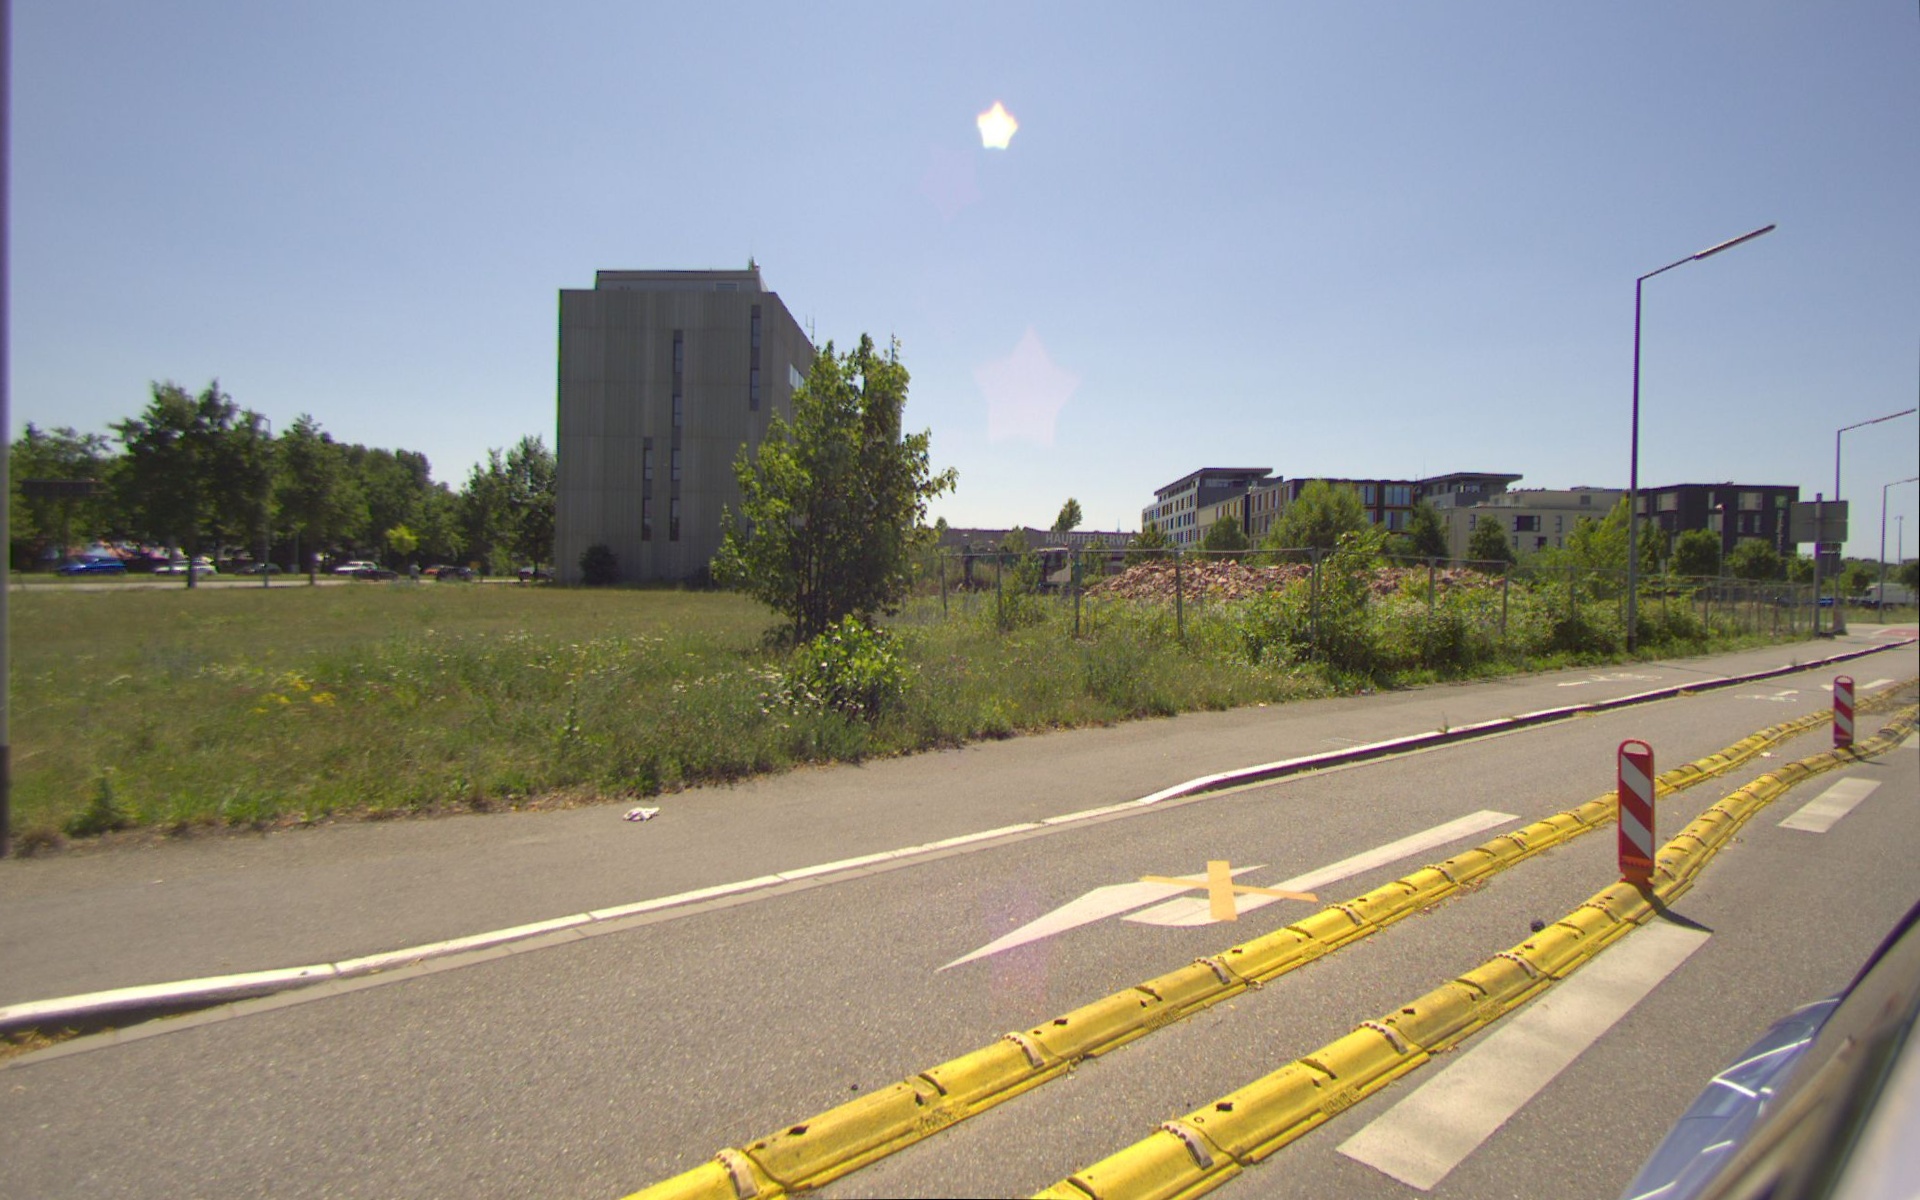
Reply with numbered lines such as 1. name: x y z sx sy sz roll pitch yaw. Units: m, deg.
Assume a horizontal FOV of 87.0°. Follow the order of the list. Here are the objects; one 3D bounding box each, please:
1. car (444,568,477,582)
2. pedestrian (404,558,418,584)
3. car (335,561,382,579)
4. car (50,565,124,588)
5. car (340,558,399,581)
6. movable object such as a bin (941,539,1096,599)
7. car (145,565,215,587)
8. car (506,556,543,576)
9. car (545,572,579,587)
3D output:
1. car: -60.853 -3.001 123.411 1.814 1.612 4.443 0 0 1
2. pedestrian: -33.922 -1.767 62.571 0.652 1.611 0.557 0 0 -15
3. car: -57.486 -2.845 96.742 1.814 1.612 4.444 0 0 1
4. car: -61.734 -1.640 71.645 1.734 1.557 3.997 0 0 3
5. car: -47.944 -2.428 82.330 1.960 1.757 5.334 0 0 -4
6. movable object such as a bin: 3.111 -1.584 53.297 7.537 2.952 3.242 -1 0 -26
7. car: -58.711 -1.801 76.281 1.814 1.612 4.443 0 0 1
8. car: -45.201 -3.472 105.151 1.961 1.961 4.645 0 0 -1
9. car: -46.669 -2.403 118.764 1.964 1.757 4.639 0 0 4
